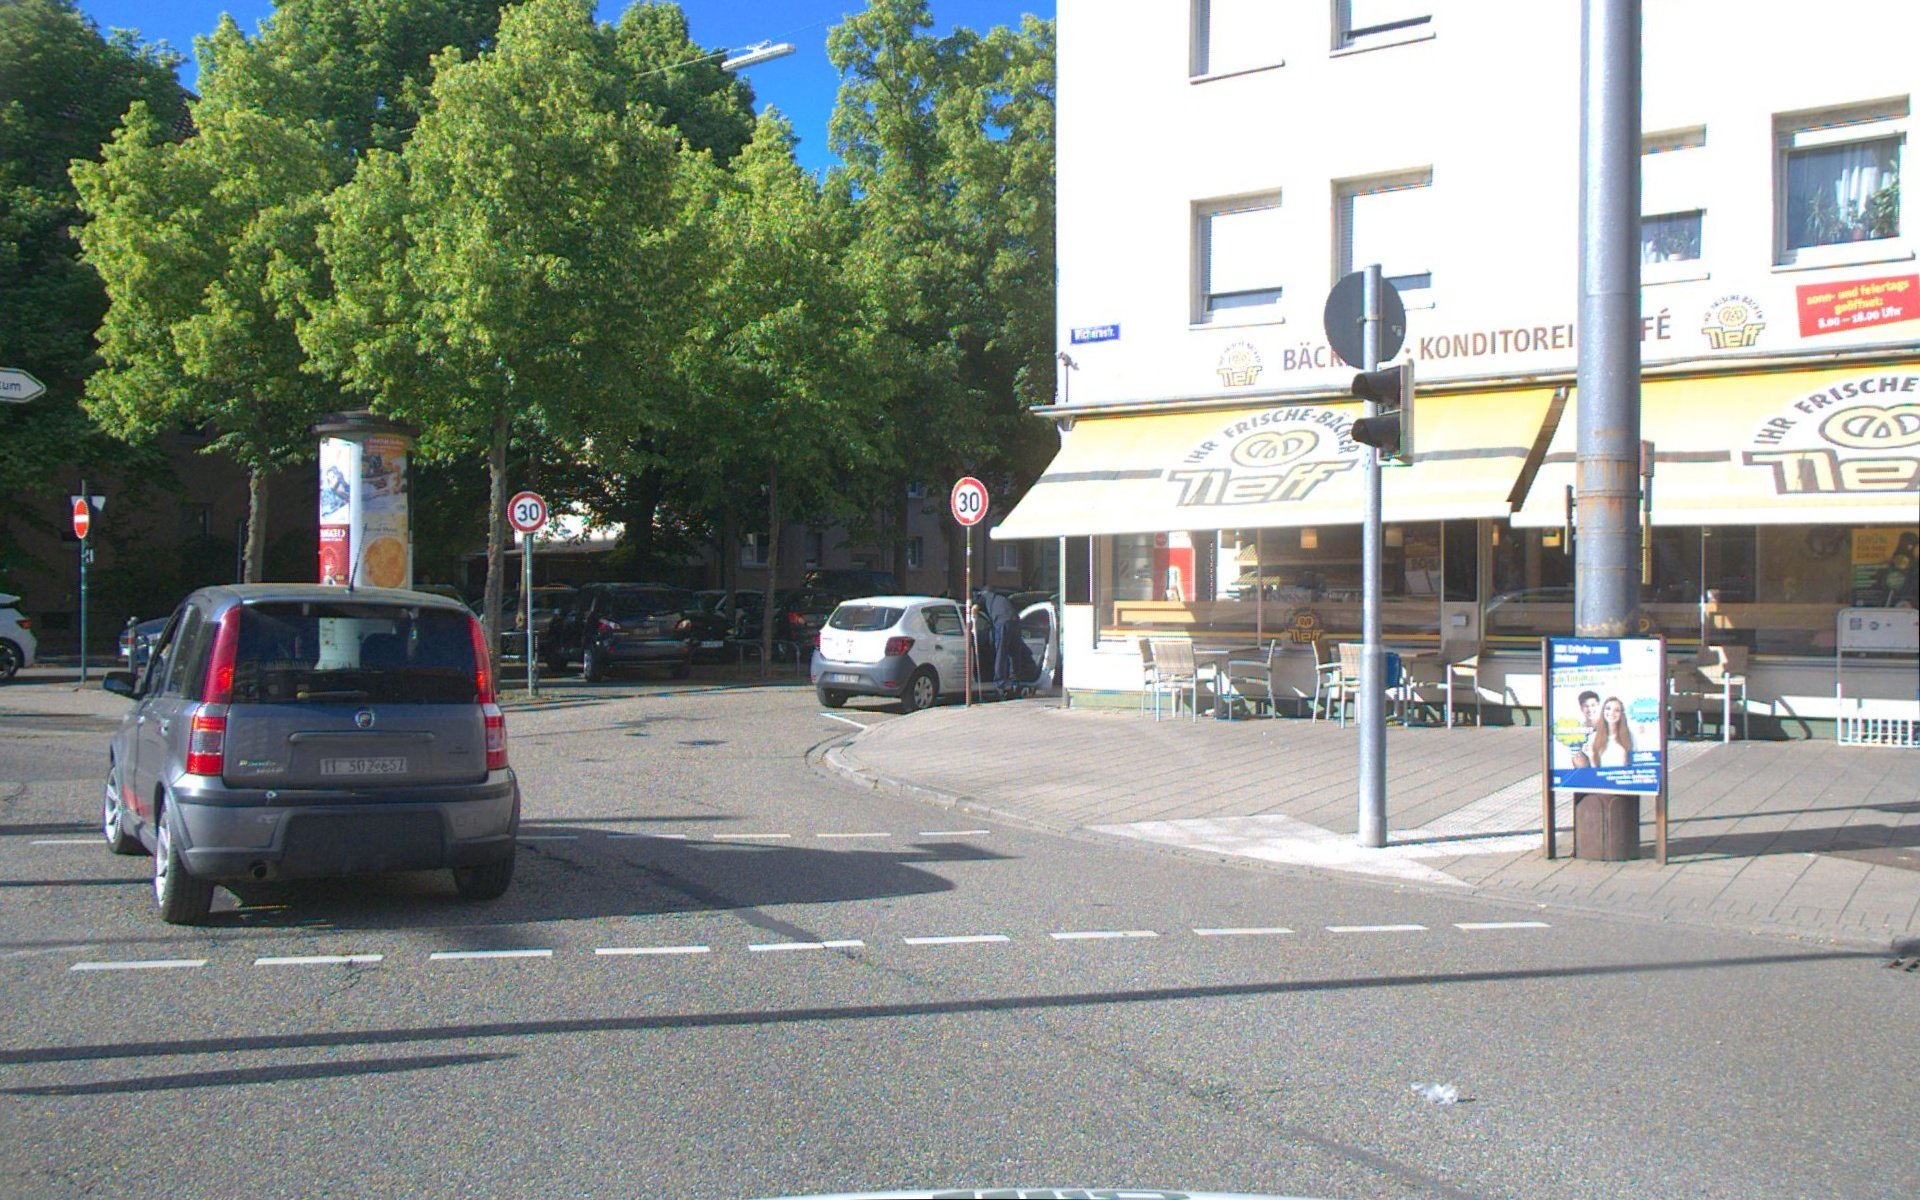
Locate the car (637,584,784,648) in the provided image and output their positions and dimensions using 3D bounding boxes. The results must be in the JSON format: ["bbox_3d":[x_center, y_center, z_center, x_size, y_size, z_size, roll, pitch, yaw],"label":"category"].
[{"bbox_3d":[-6.239,0.358,41.744,1.720,1.512,3.944,0,1,27],"label":"car"}]

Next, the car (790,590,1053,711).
[{"bbox_3d":[-0.451,0.639,23.279,1.690,1.523,4.009,0,1,35],"label":"car"}]

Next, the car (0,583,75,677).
[{"bbox_3d":[-17.437,0.498,26.960,1.888,1.545,5.010,0,1,40],"label":"car"}]

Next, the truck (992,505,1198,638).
[{"bbox_3d":[3.545,-0.742,45.538,2.505,3.351,7.270,0,0,-24],"label":"truck"}]

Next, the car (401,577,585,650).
[{"bbox_3d":[-11.244,0.286,40.084,1.722,1.668,4.236,0,1,32],"label":"car"}]

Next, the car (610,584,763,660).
[{"bbox_3d":[-5.645,0.406,33.799,1.797,1.447,3.907,0,1,-31],"label":"car"}]

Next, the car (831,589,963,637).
[{"bbox_3d":[-1.791,0.361,48.281,1.731,1.317,4.404,-2,-1,31],"label":"car"}]

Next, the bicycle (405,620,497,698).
[{"bbox_3d":[-7.549,0.853,24.590,0.345,1.091,1.592,0,0,23],"label":"bicycle"}]

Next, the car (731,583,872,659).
[{"bbox_3d":[-3.391,0.396,34.798,1.735,1.506,3.791,0,1,-27],"label":"car"}]

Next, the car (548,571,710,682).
[{"bbox_3d":[-5.922,0.394,29.192,1.808,1.700,4.302,0,2,-25],"label":"car"}]

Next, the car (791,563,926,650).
[{"bbox_3d":[-2.450,0.121,38.774,1.902,1.906,4.474,0,1,-21],"label":"car"}]

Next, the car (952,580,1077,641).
[{"bbox_3d":[1.387,0.245,44.001,1.782,1.533,4.316,0,1,-21],"label":"car"}]

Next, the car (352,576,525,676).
[{"bbox_3d":[-9.367,0.420,29.519,1.900,1.639,3.952,-1,0,-34],"label":"car"}]

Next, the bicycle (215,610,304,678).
[{"bbox_3d":[-11.830,0.730,27.986,0.345,1.091,1.592,0,0,23],"label":"bicycle"}]

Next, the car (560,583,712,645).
[{"bbox_3d":[-8.649,0.339,44.395,1.724,1.597,3.936,0,1,34],"label":"car"}]

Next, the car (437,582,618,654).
[{"bbox_3d":[-9.567,0.358,36.847,1.720,1.512,3.944,0,1,27],"label":"car"}]

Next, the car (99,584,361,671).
[{"bbox_3d":[-13.893,0.468,31.705,1.870,1.545,4.286,0,1,34],"label":"car"}]

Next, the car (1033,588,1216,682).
[{"bbox_3d":[2.874,0.548,28.359,1.569,1.489,3.660,0,1,35],"label":"car"}]

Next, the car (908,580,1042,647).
[{"bbox_3d":[0.292,0.279,39.991,1.782,1.533,4.316,0,1,-21],"label":"car"}]

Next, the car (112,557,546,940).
[{"bbox_3d":[-3.434,0.598,8.678,1.600,1.589,3.223,0,1,-31],"label":"car"}]

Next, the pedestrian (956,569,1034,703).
[{"bbox_3d":[0.473,0.467,22.235,0.747,1.752,0.741,0,0,40],"label":"pedestrian"}]

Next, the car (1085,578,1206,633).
[{"bbox_3d":[5.410,0.128,48.786,1.818,1.529,3.971,0,1,-24],"label":"car"}]

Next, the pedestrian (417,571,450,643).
[{"bbox_3d":[-12.921,0.165,40.573,0.730,1.766,0.536,0,0,-23],"label":"pedestrian"}]
